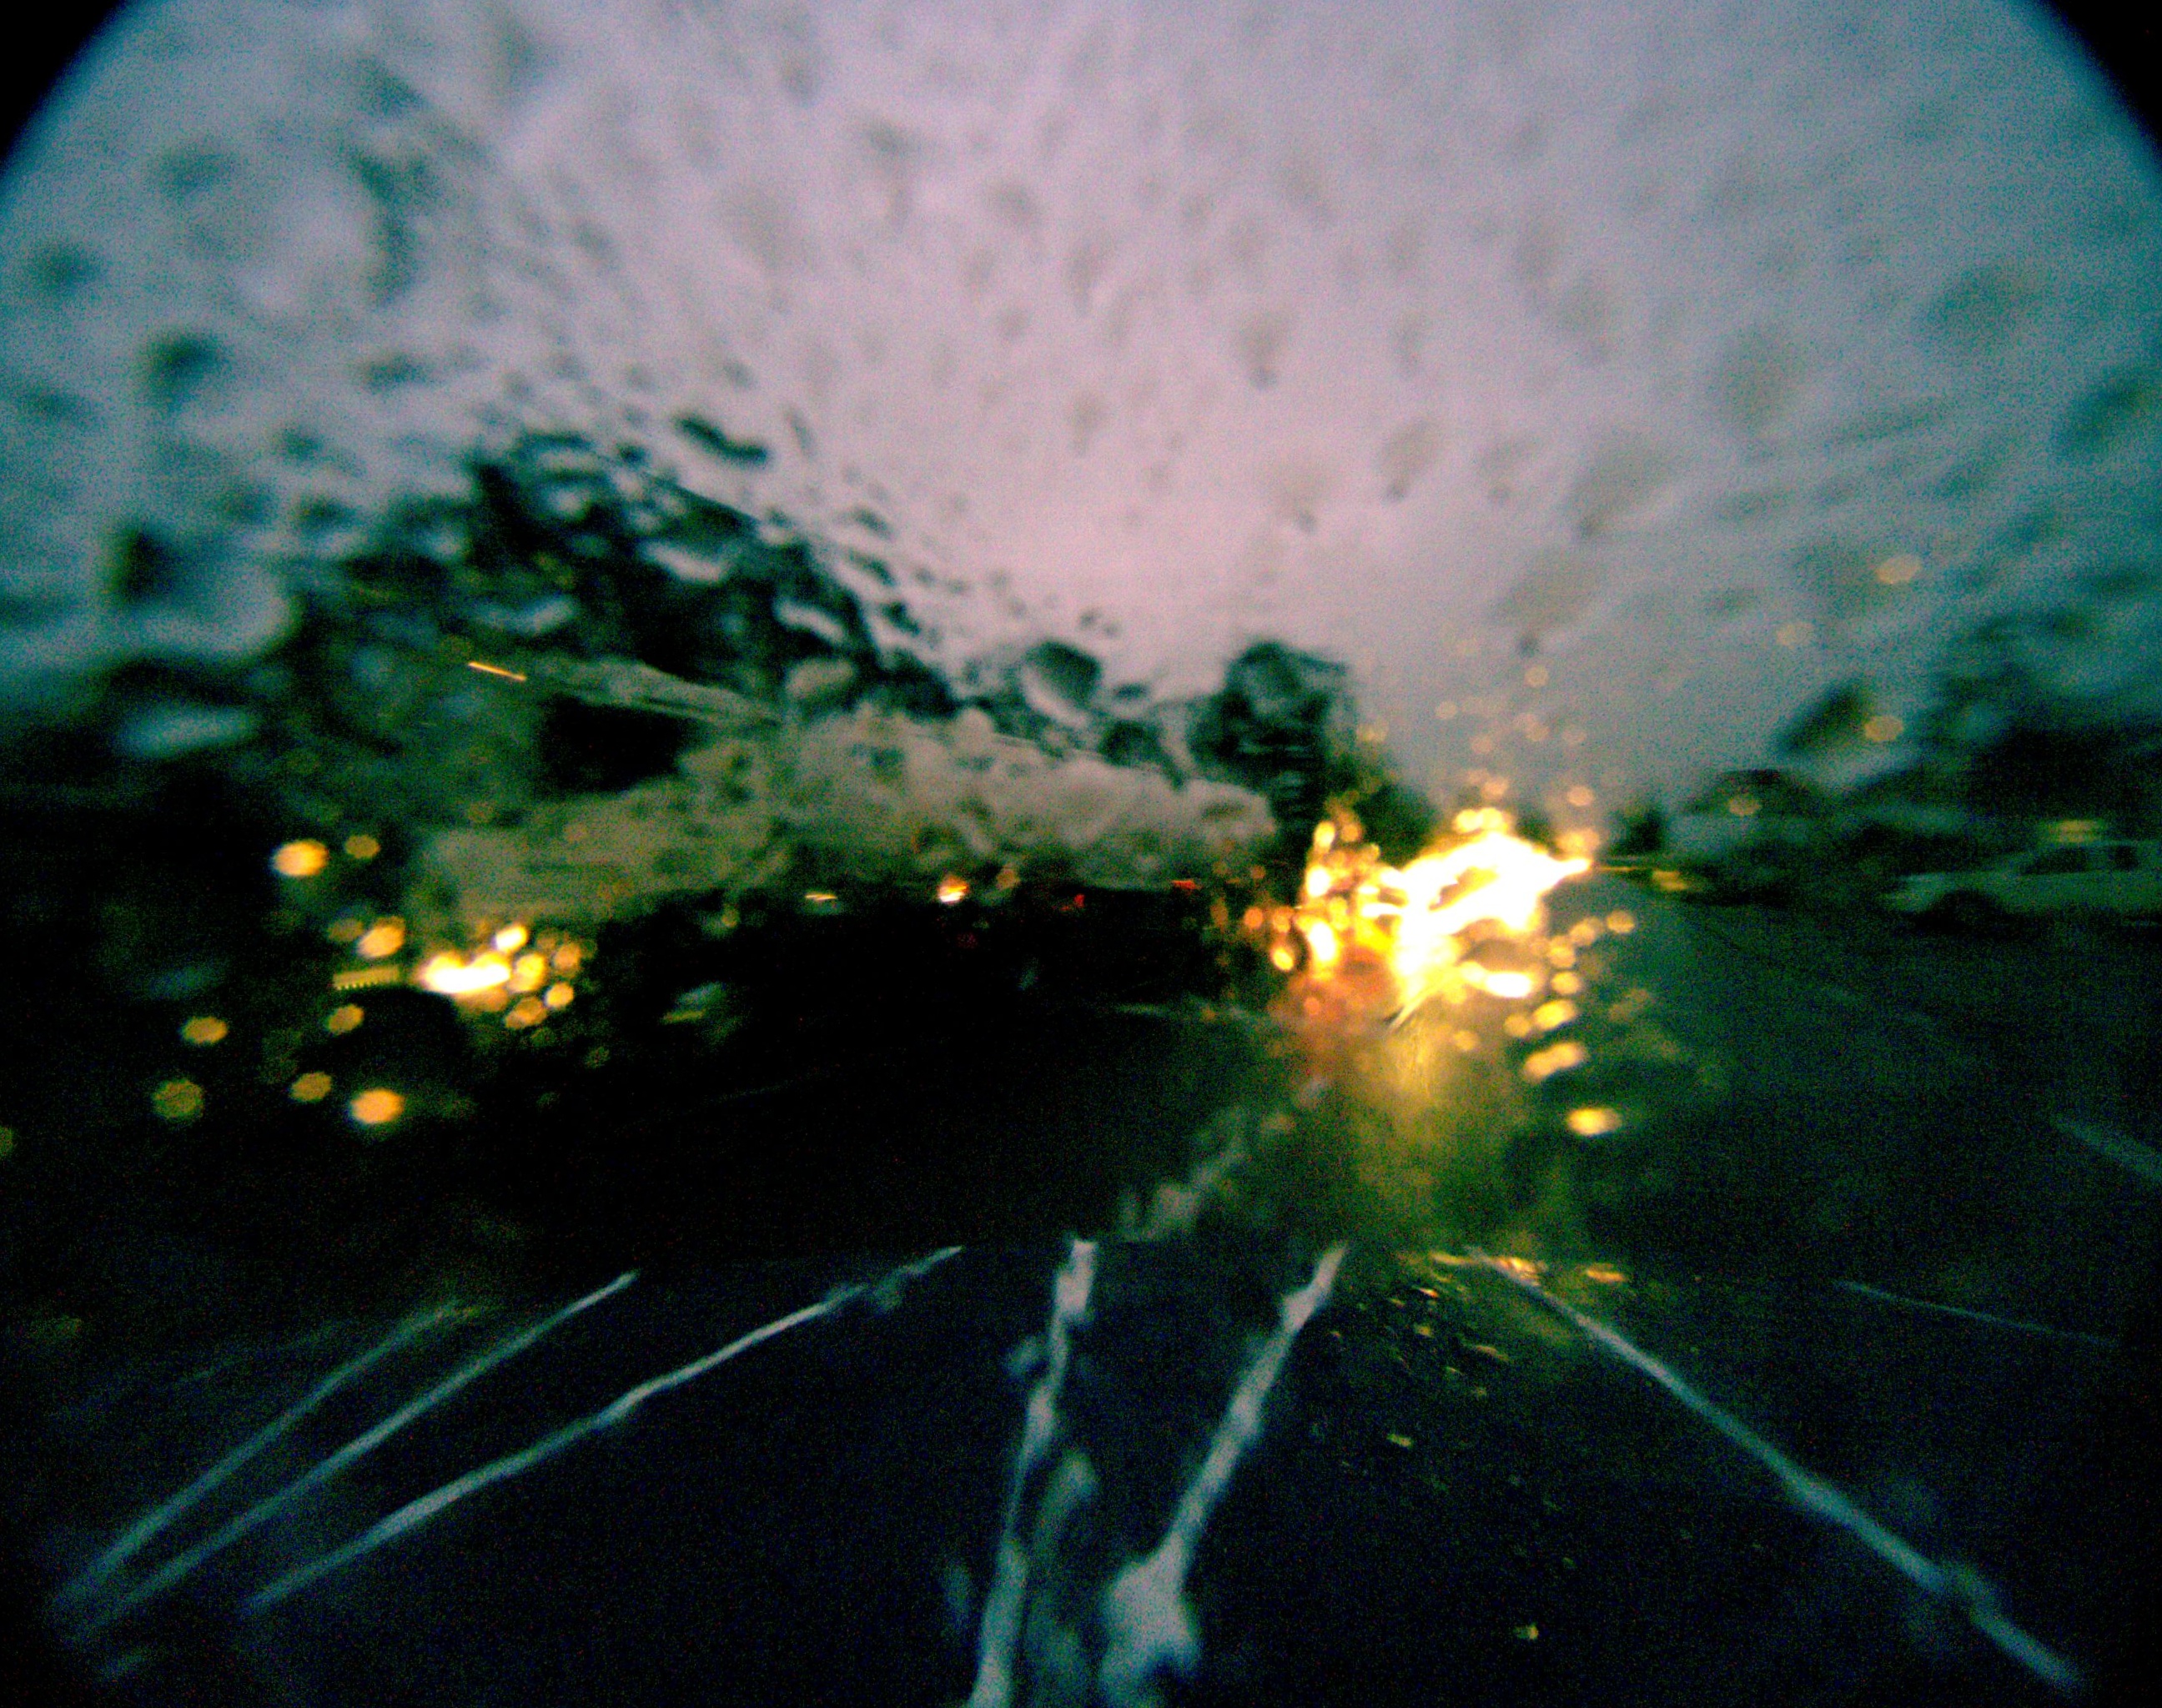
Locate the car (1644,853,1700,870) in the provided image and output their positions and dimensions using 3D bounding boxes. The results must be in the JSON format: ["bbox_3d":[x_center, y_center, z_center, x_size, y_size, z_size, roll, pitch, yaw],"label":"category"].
[{"bbox_3d":[63.913,0.801,82.229,4.537,1.666,2.014,-2,-1,30],"label":"car"}]

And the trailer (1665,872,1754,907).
[{"bbox_3d":[23.158,1.250,28.220,1.994,1.033,6.116,0,0,34],"label":"trailer"}]

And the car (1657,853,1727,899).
[{"bbox_3d":[26.172,0.887,32.680,1.971,1.820,4.522,0,0,34],"label":"car"}]

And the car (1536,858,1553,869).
[{"bbox_3d":[68.258,1.396,111.822,1.886,1.618,4.009,-2,-2,34],"label":"car"}]

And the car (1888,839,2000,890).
[{"bbox_3d":[34.816,0.401,30.793,1.994,1.893,4.008,-1,0,33],"label":"car"}]

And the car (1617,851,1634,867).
[{"bbox_3d":[71.542,0.684,99.840,1.836,2.001,4.493,-1,-1,36],"label":"car"}]

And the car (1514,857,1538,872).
[{"bbox_3d":[45.536,1.083,77.731,2.012,1.483,4.008,-2,-1,29],"label":"car"}]

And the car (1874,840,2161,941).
[{"bbox_3d":[19.167,0.647,14.572,5.191,1.780,2.004,-1,0,36],"label":"car"}]

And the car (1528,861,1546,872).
[{"bbox_3d":[60.566,1.650,100.991,2.012,1.483,4.008,-1,-1,30],"label":"car"}]

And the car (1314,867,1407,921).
[{"bbox_3d":[8.705,1.183,23.471,1.663,1.430,4.390,-2,-1,34],"label":"car"}]

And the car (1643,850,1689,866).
[{"bbox_3d":[85.154,0.587,110.676,5.148,2.137,2.063,1,0,34],"label":"car"}]

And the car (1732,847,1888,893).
[{"bbox_3d":[29.878,0.677,31.348,4.280,1.617,2.004,-4,-2,34],"label":"car"}]

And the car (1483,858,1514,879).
[{"bbox_3d":[32.986,1.148,59.995,1.709,1.566,4.473,-1,-1,34],"label":"car"}]

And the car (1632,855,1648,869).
[{"bbox_3d":[67.255,0.940,91.411,1.172,1.634,2.876,0,0,42],"label":"car"}]

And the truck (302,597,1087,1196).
[{"bbox_3d":[-2.757,0.248,7.354,2.463,3.210,6.285,-2,-1,34],"label":"truck"}]

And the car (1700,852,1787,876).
[{"bbox_3d":[41.032,0.614,47.199,3.860,1.433,1.844,-2,-1,34],"label":"car"}]

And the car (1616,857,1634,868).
[{"bbox_3d":[68.188,1.040,95.239,1.570,1.314,4.264,1,2,32],"label":"car"}]

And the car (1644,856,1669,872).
[{"bbox_3d":[52.259,0.874,69.022,1.683,1.412,3.748,-1,-1,36],"label":"car"}]

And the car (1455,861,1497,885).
[{"bbox_3d":[23.169,1.093,44.499,1.654,1.328,4.281,-2,-1,34],"label":"car"}]

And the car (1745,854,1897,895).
[{"bbox_3d":[28.003,0.800,28.948,3.896,1.420,1.723,-2,-1,35],"label":"car"}]

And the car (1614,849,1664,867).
[{"bbox_3d":[85.528,0.609,116.601,6.158,2.616,2.181,0,0,34],"label":"car"}]

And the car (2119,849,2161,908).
[{"bbox_3d":[30.724,0.658,20.468,1.994,1.615,4.008,-1,0,33],"label":"car"}]

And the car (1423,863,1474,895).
[{"bbox_3d":[18.584,1.231,38.333,1.703,1.462,4.281,-2,-1,34],"label":"car"}]

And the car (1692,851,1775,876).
[{"bbox_3d":[42.365,0.619,49.422,3.860,1.550,1.844,-2,-1,34],"label":"car"}]

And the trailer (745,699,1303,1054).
[{"bbox_3d":[0.484,0.217,12.088,2.489,3.221,10.891,-2,-1,34],"label":"trailer"}]

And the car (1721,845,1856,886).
[{"bbox_3d":[33.023,0.554,35.682,4.280,1.652,2.141,-4,-2,34],"label":"car"}]

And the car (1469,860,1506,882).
[{"bbox_3d":[27.705,1.113,51.710,1.642,1.358,4.779,-2,-1,34],"label":"car"}]

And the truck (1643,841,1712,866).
[{"bbox_3d":[77.859,-0.075,99.384,6.862,3.123,2.339,-1,-1,33],"label":"truck"}]

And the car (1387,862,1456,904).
[{"bbox_3d":[14.177,1.175,31.477,1.837,1.559,4.513,-3,-1,34],"label":"car"}]

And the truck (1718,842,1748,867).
[{"bbox_3d":[91.282,0.099,106.455,2.031,3.434,5.864,2,0,30],"label":"truck"}]

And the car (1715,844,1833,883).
[{"bbox_3d":[36.252,0.520,39.933,4.280,1.752,2.004,-4,-2,34],"label":"car"}]

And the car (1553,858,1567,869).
[{"bbox_3d":[75.106,1.456,119.159,1.886,1.618,4.008,-2,-1,32],"label":"car"}]
